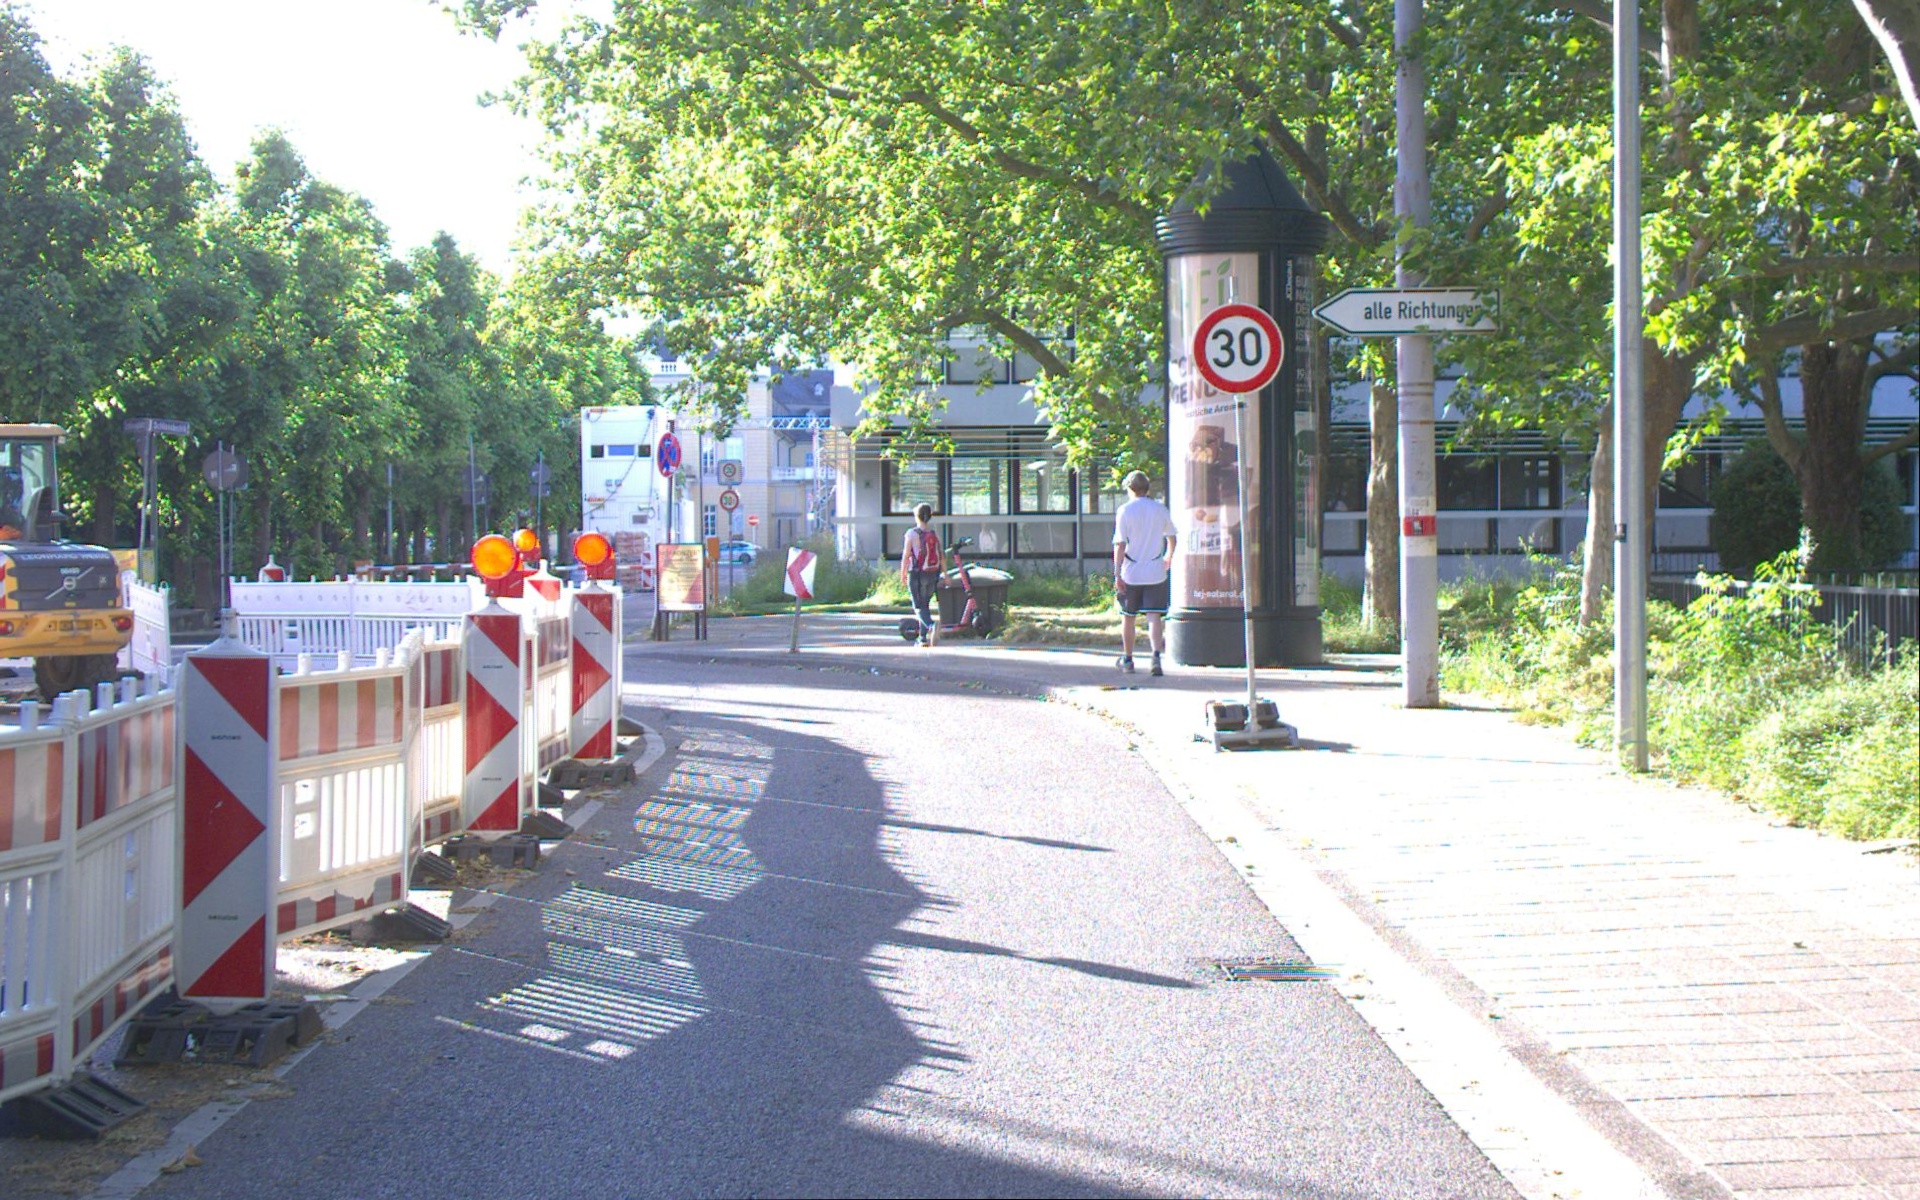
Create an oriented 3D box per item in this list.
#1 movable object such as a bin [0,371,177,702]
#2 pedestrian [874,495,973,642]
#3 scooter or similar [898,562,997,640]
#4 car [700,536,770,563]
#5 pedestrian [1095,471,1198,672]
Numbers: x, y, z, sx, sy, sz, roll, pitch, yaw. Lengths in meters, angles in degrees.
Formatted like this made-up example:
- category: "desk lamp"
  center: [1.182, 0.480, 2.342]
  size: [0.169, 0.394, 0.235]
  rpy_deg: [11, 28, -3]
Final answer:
- category: "movable object such as a bin"
  center: [-10.526, -0.593, 33.843]
  size: [5.927, 3.021, 2.561]
  rpy_deg: [0, 2, 43]
- category: "pedestrian"
  center: [-0.408, -0.353, 38.418]
  size: [0.708, 1.618, 0.939]
  rpy_deg: [-1, 0, -32]
- category: "scooter or similar"
  center: [-0.158, 0.009, 42.287]
  size: [1.146, 0.911, 0.419]
  rpy_deg: [-2, 0, -8]
- category: "car"
  center: [-14.963, -3.359, 228.915]
  size: [4.557, 1.784, 2.000]
  rpy_deg: [0, 1, -2]
- category: "pedestrian"
  center: [1.720, -0.276, 31.812]
  size: [0.745, 1.806, 1.134]
  rpy_deg: [1, 2, -5]
